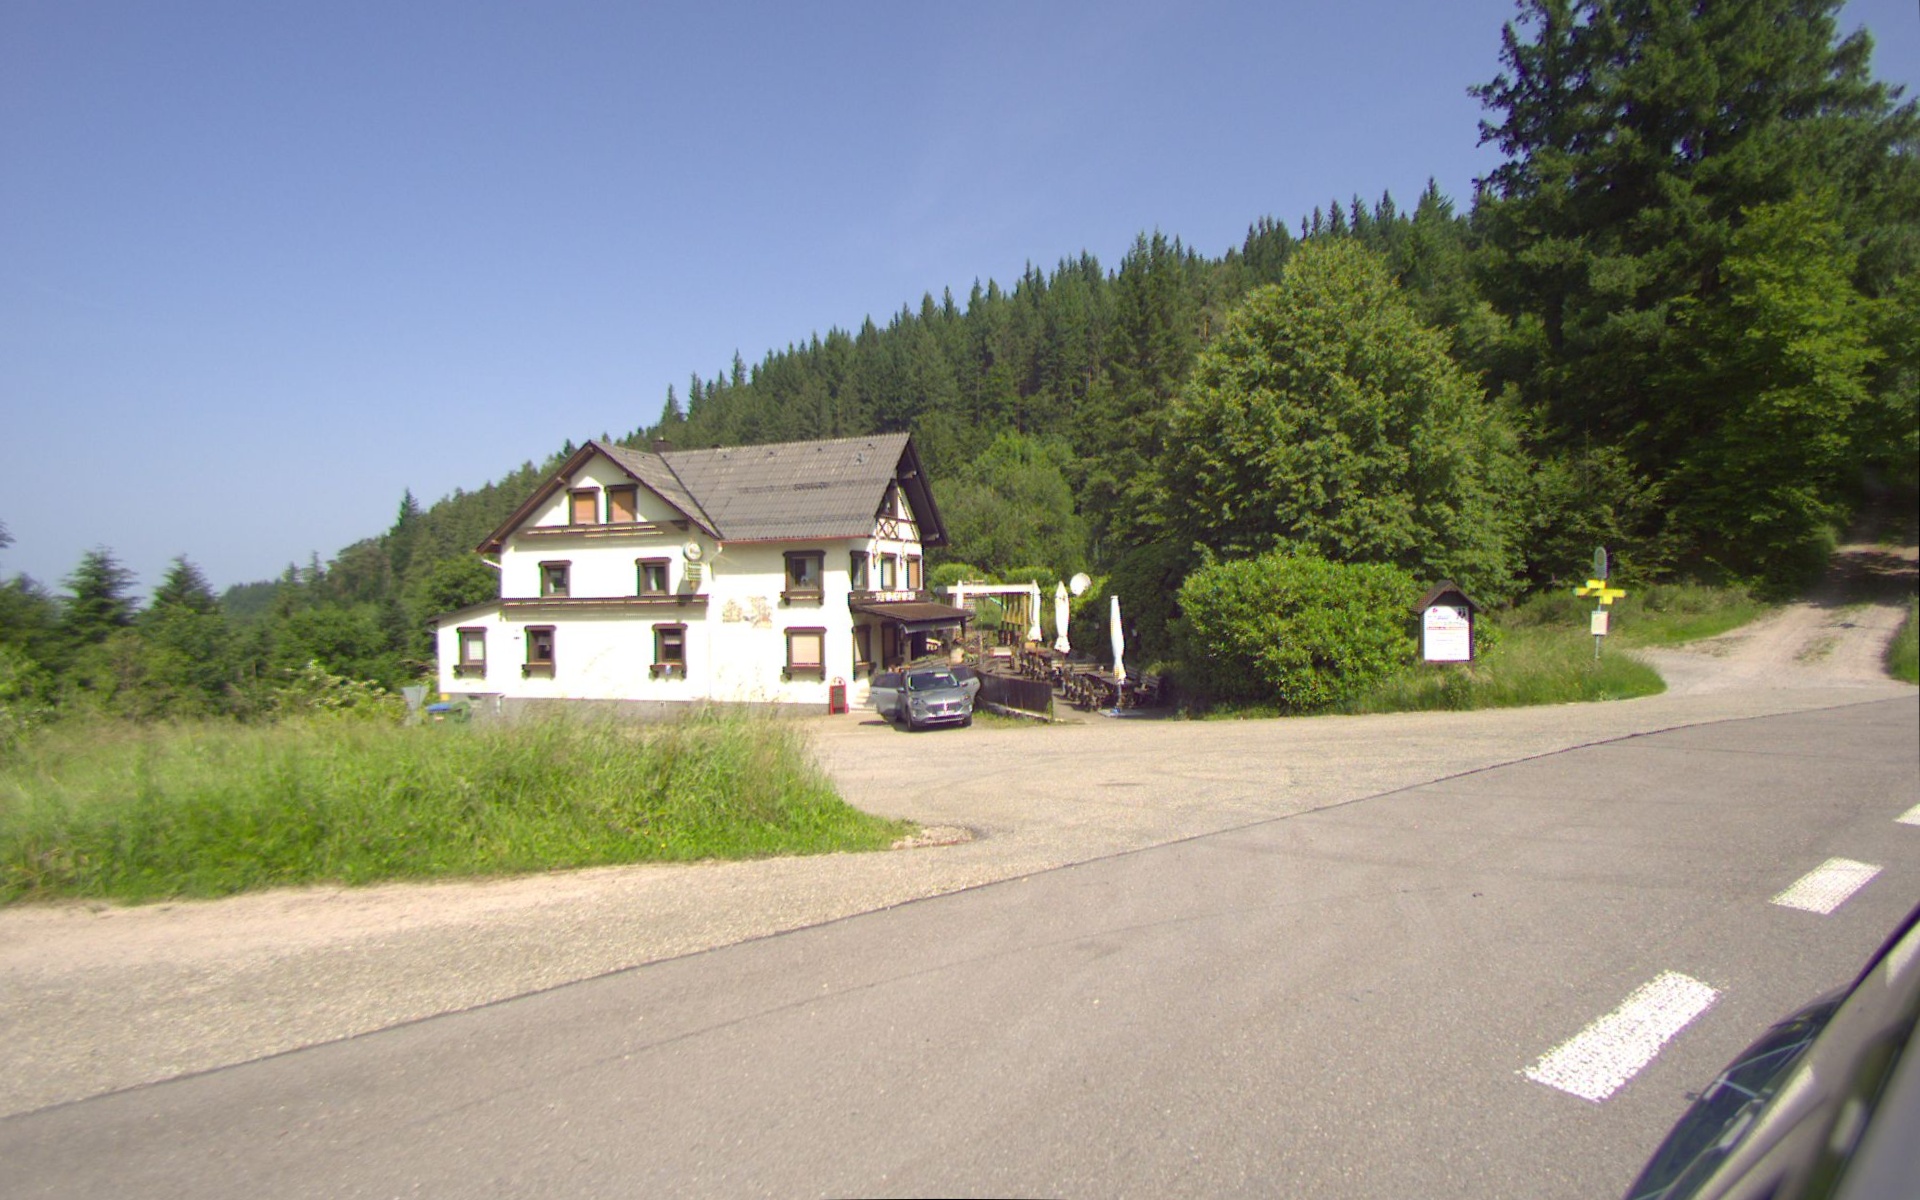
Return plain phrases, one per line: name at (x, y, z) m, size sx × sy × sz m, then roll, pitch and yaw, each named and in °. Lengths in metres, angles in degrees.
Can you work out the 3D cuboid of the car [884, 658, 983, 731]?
car at (-0.871, 2.699, 29.743) m, size 1.938 × 1.642 × 4.486 m, roll -5°, pitch -1°, yaw -13°
